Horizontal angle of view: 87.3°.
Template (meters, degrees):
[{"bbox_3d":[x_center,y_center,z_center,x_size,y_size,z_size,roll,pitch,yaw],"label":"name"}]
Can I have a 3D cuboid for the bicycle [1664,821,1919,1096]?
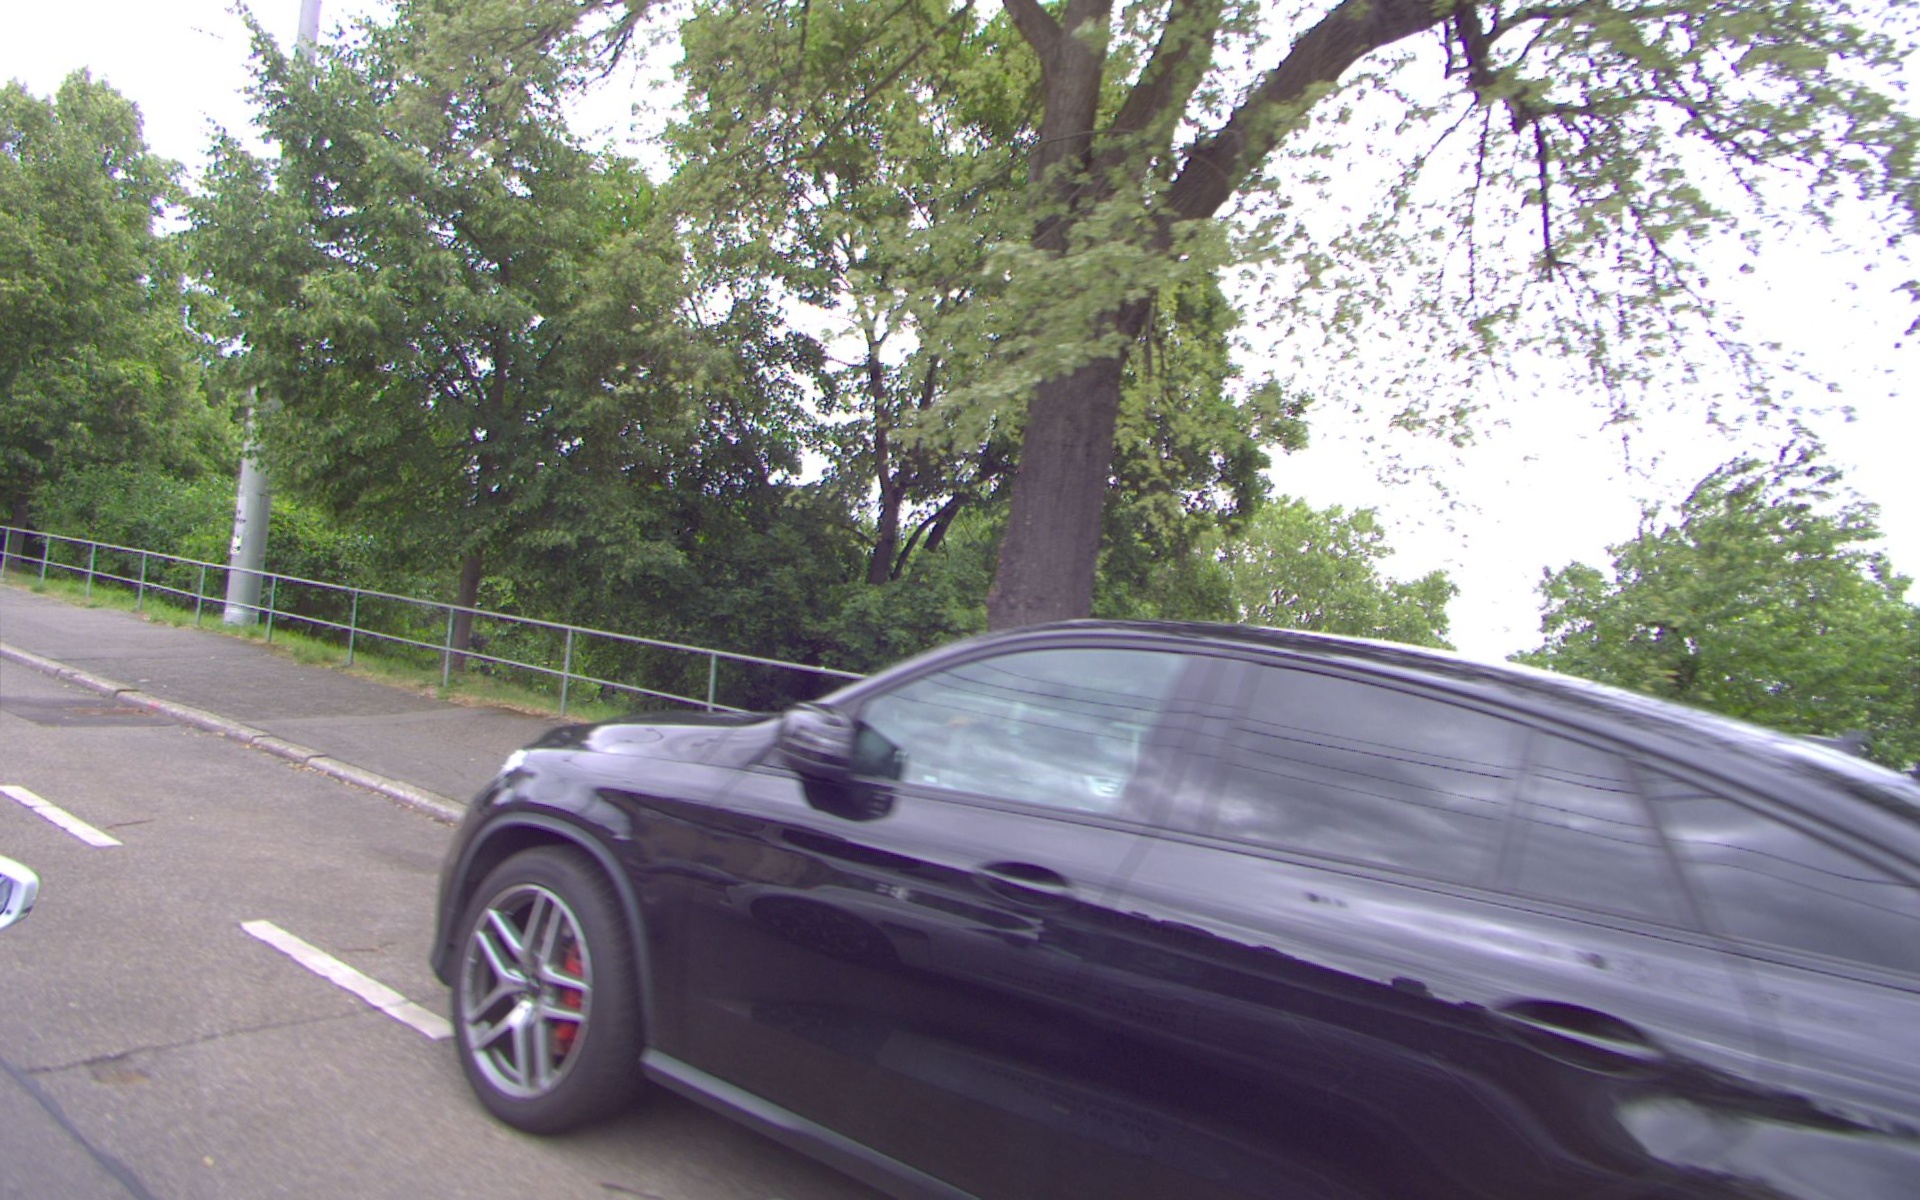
[{"bbox_3d":[4.292,1.655,4.484,1.762,0.987,0.429,6,-2,22],"label":"bicycle"}]

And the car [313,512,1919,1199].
[{"bbox_3d":[0.553,0.899,2.835,4.979,1.695,1.882,6,-4,32],"label":"car"}]
